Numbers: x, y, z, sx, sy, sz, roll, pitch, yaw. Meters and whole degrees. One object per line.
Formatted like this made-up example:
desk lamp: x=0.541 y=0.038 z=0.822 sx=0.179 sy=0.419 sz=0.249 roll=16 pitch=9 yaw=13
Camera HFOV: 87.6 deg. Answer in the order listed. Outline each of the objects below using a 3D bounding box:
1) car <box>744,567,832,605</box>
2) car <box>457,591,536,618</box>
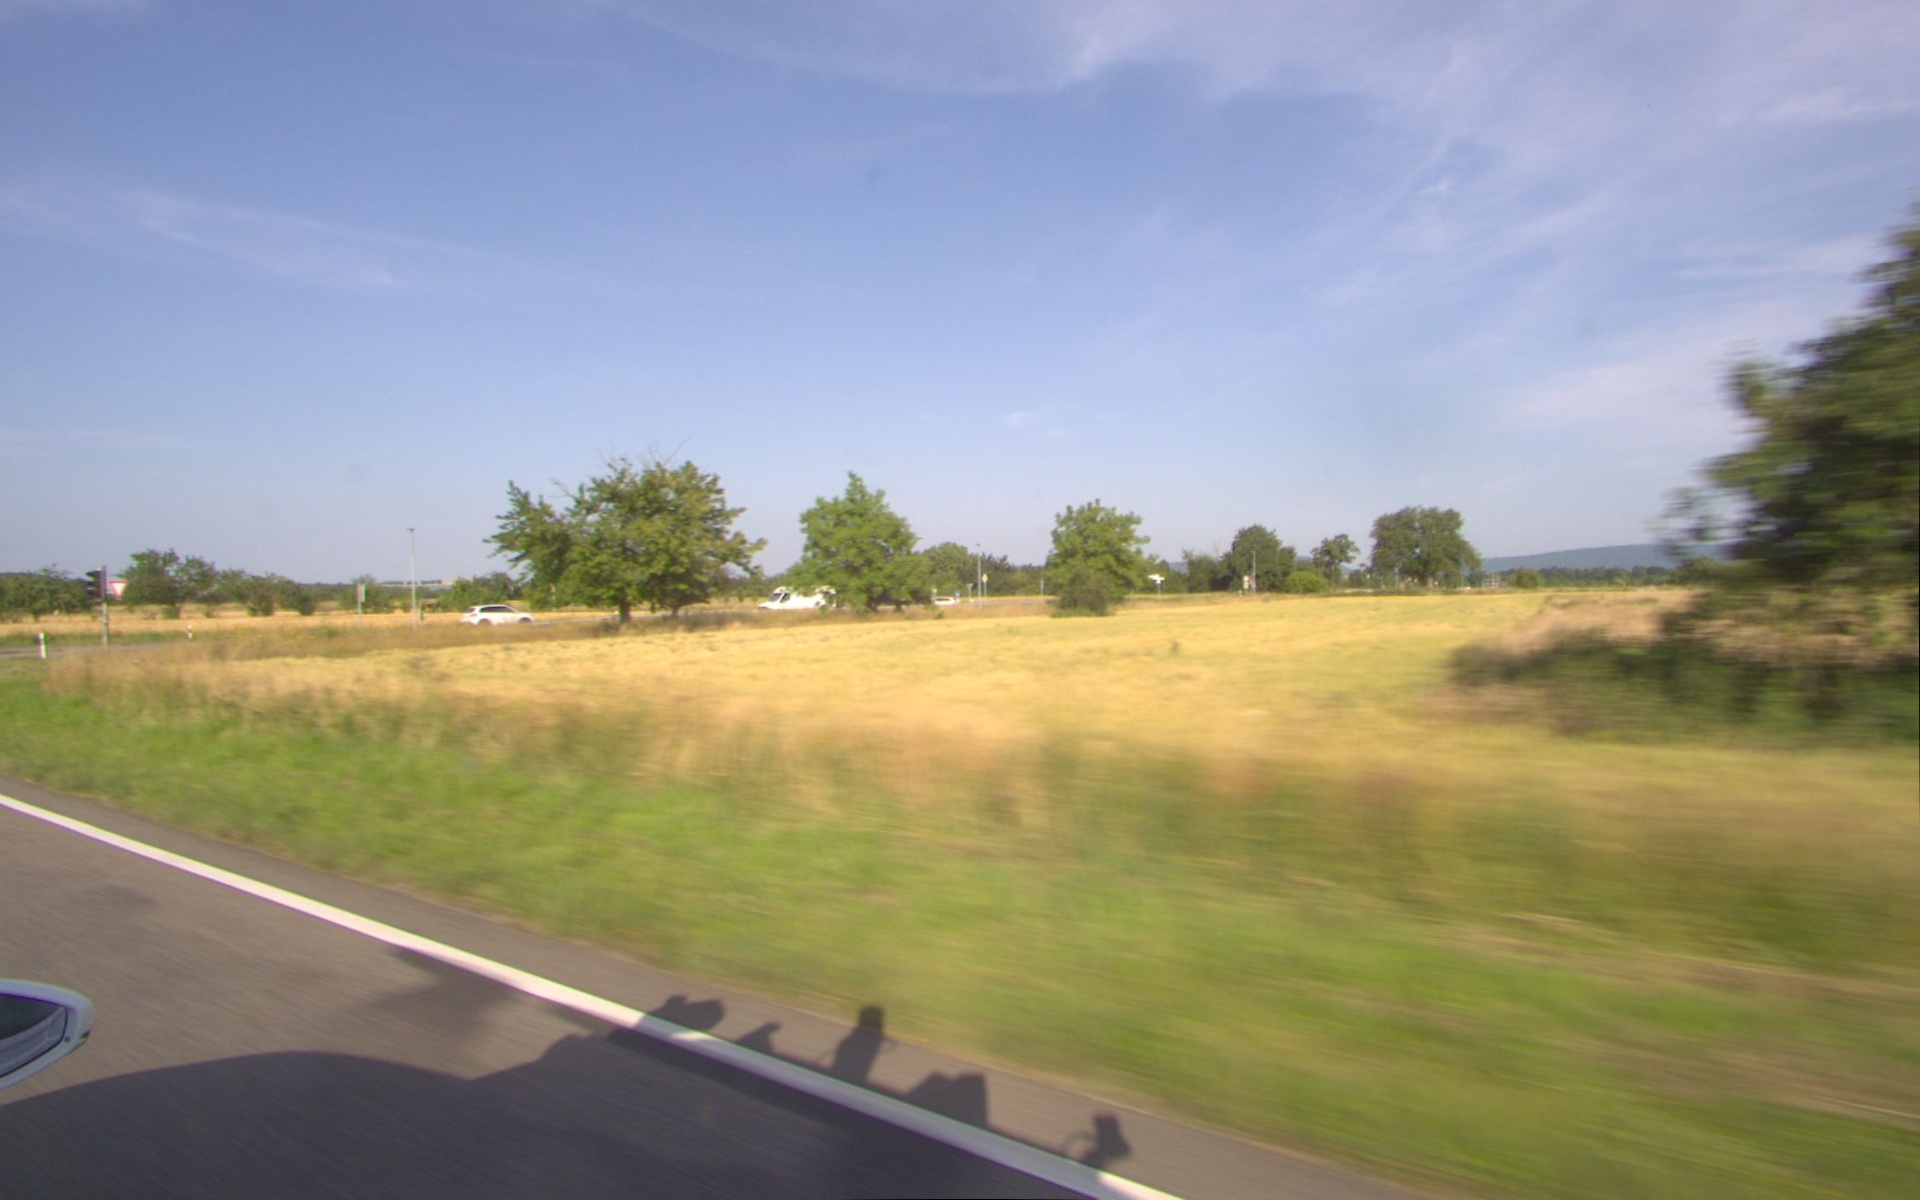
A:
car: x=-13.898 y=-1.097 z=81.253 sx=6.970 sy=2.832 sz=2.297 roll=1 pitch=-1 yaw=-43
car: x=-28.253 y=0.299 z=61.090 sx=1.841 sy=1.619 sz=3.965 roll=0 pitch=-1 yaw=43
